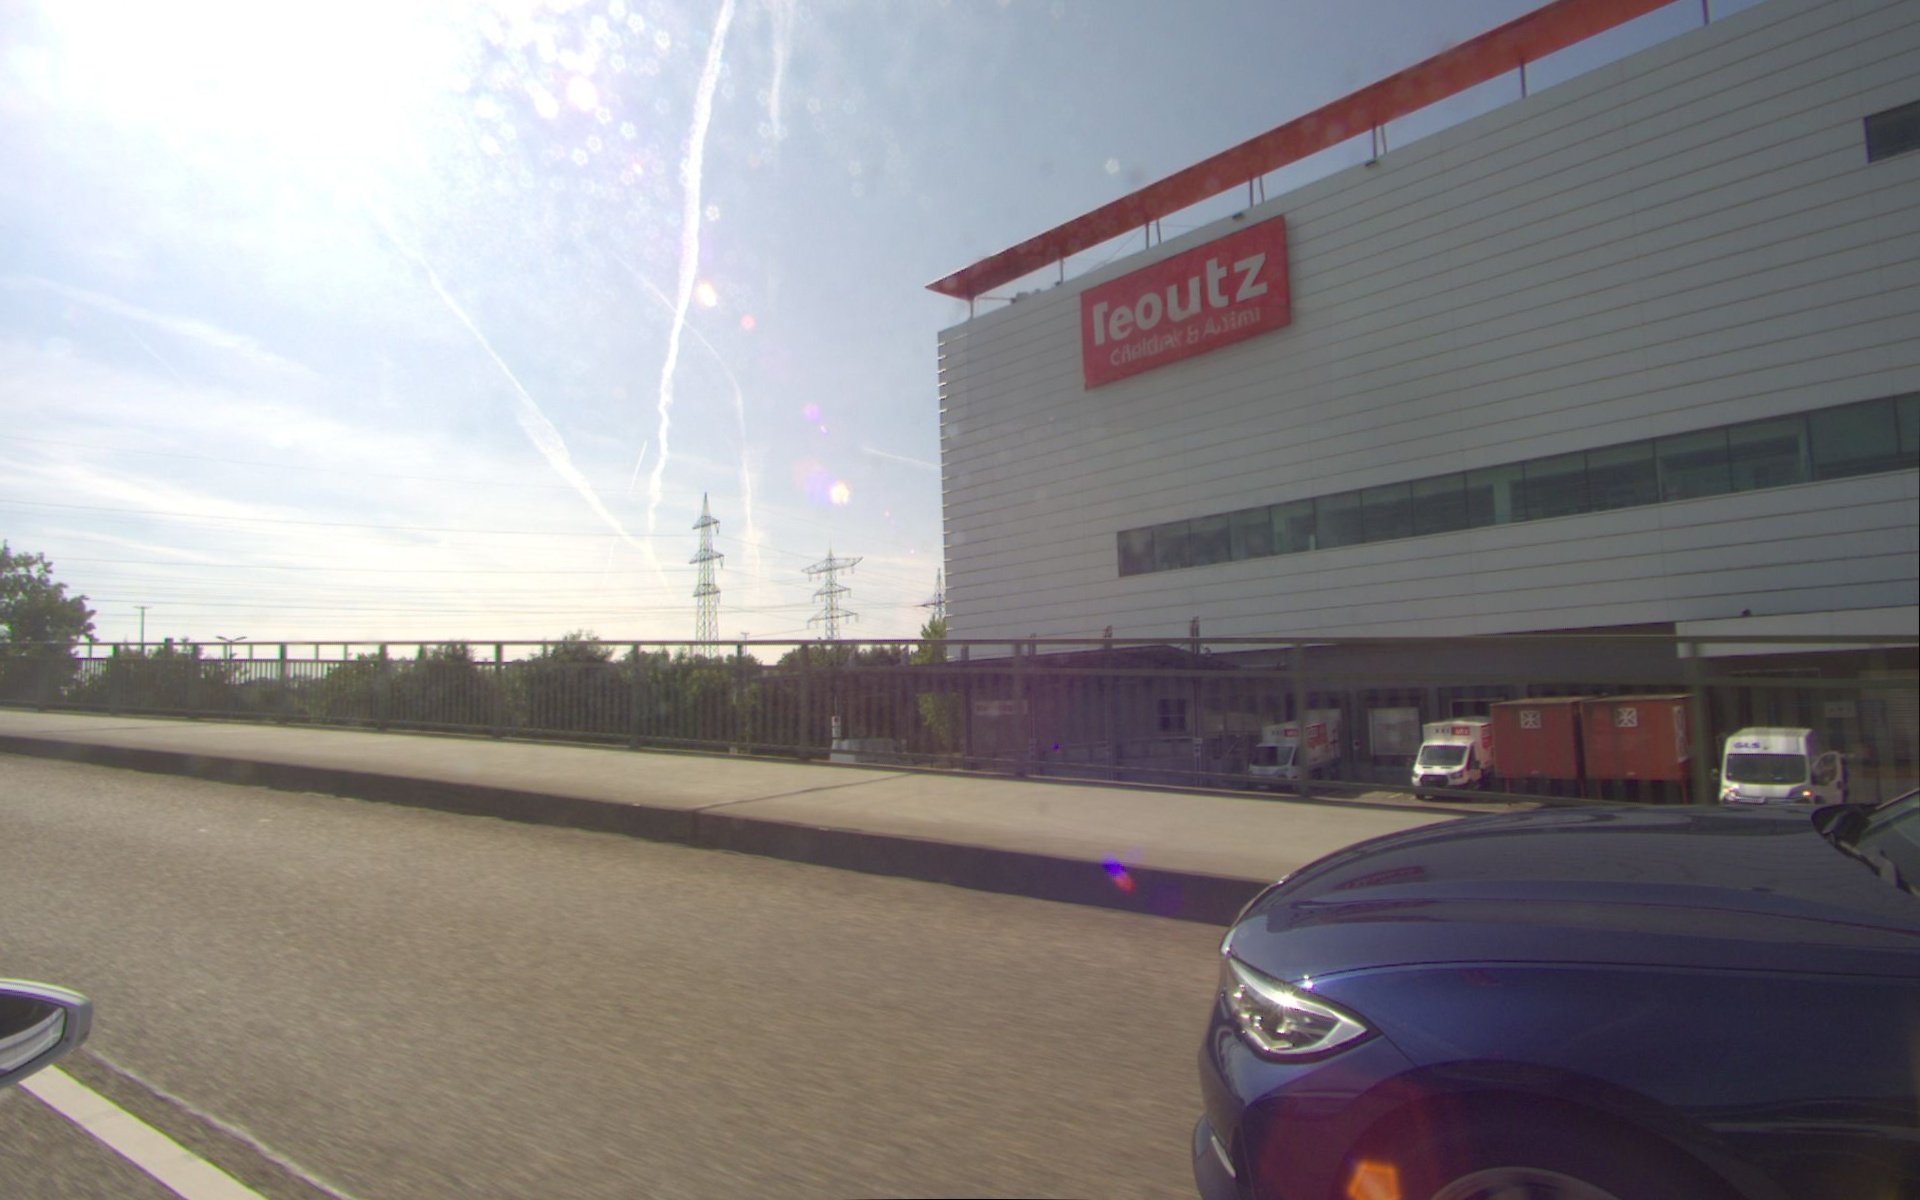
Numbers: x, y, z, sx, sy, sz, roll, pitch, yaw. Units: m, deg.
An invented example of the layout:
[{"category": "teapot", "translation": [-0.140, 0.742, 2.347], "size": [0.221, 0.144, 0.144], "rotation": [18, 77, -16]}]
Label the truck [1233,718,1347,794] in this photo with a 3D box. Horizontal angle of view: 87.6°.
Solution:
[{"category": "truck", "translation": [14.607, 6.757, 44.087], "size": [5.956, 2.960, 2.114], "rotation": [4, -8, -44]}]

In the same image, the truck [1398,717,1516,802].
[{"category": "truck", "translation": [19.538, 6.137, 39.250], "size": [5.956, 2.960, 2.114], "rotation": [4, -8, -44]}]

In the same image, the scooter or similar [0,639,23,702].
[{"category": "scooter or similar", "translation": [-18.507, 1.321, 18.881], "size": [1.455, 1.156, 0.513], "rotation": [0, -4, 18]}]

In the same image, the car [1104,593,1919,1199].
[{"category": "car", "translation": [2.659, 0.720, 1.548], "size": [4.459, 1.500, 1.785], "rotation": [-5, -7, 32]}]

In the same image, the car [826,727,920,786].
[{"category": "car", "translation": [-4.799, 8.676, 56.023], "size": [2.103, 2.960, 5.988], "rotation": [-4, -7, 31]}]

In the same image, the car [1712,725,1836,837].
[{"category": "car", "translation": [23.086, 4.962, 28.300], "size": [2.112, 2.650, 5.963], "rotation": [-6, -8, 43]}]
